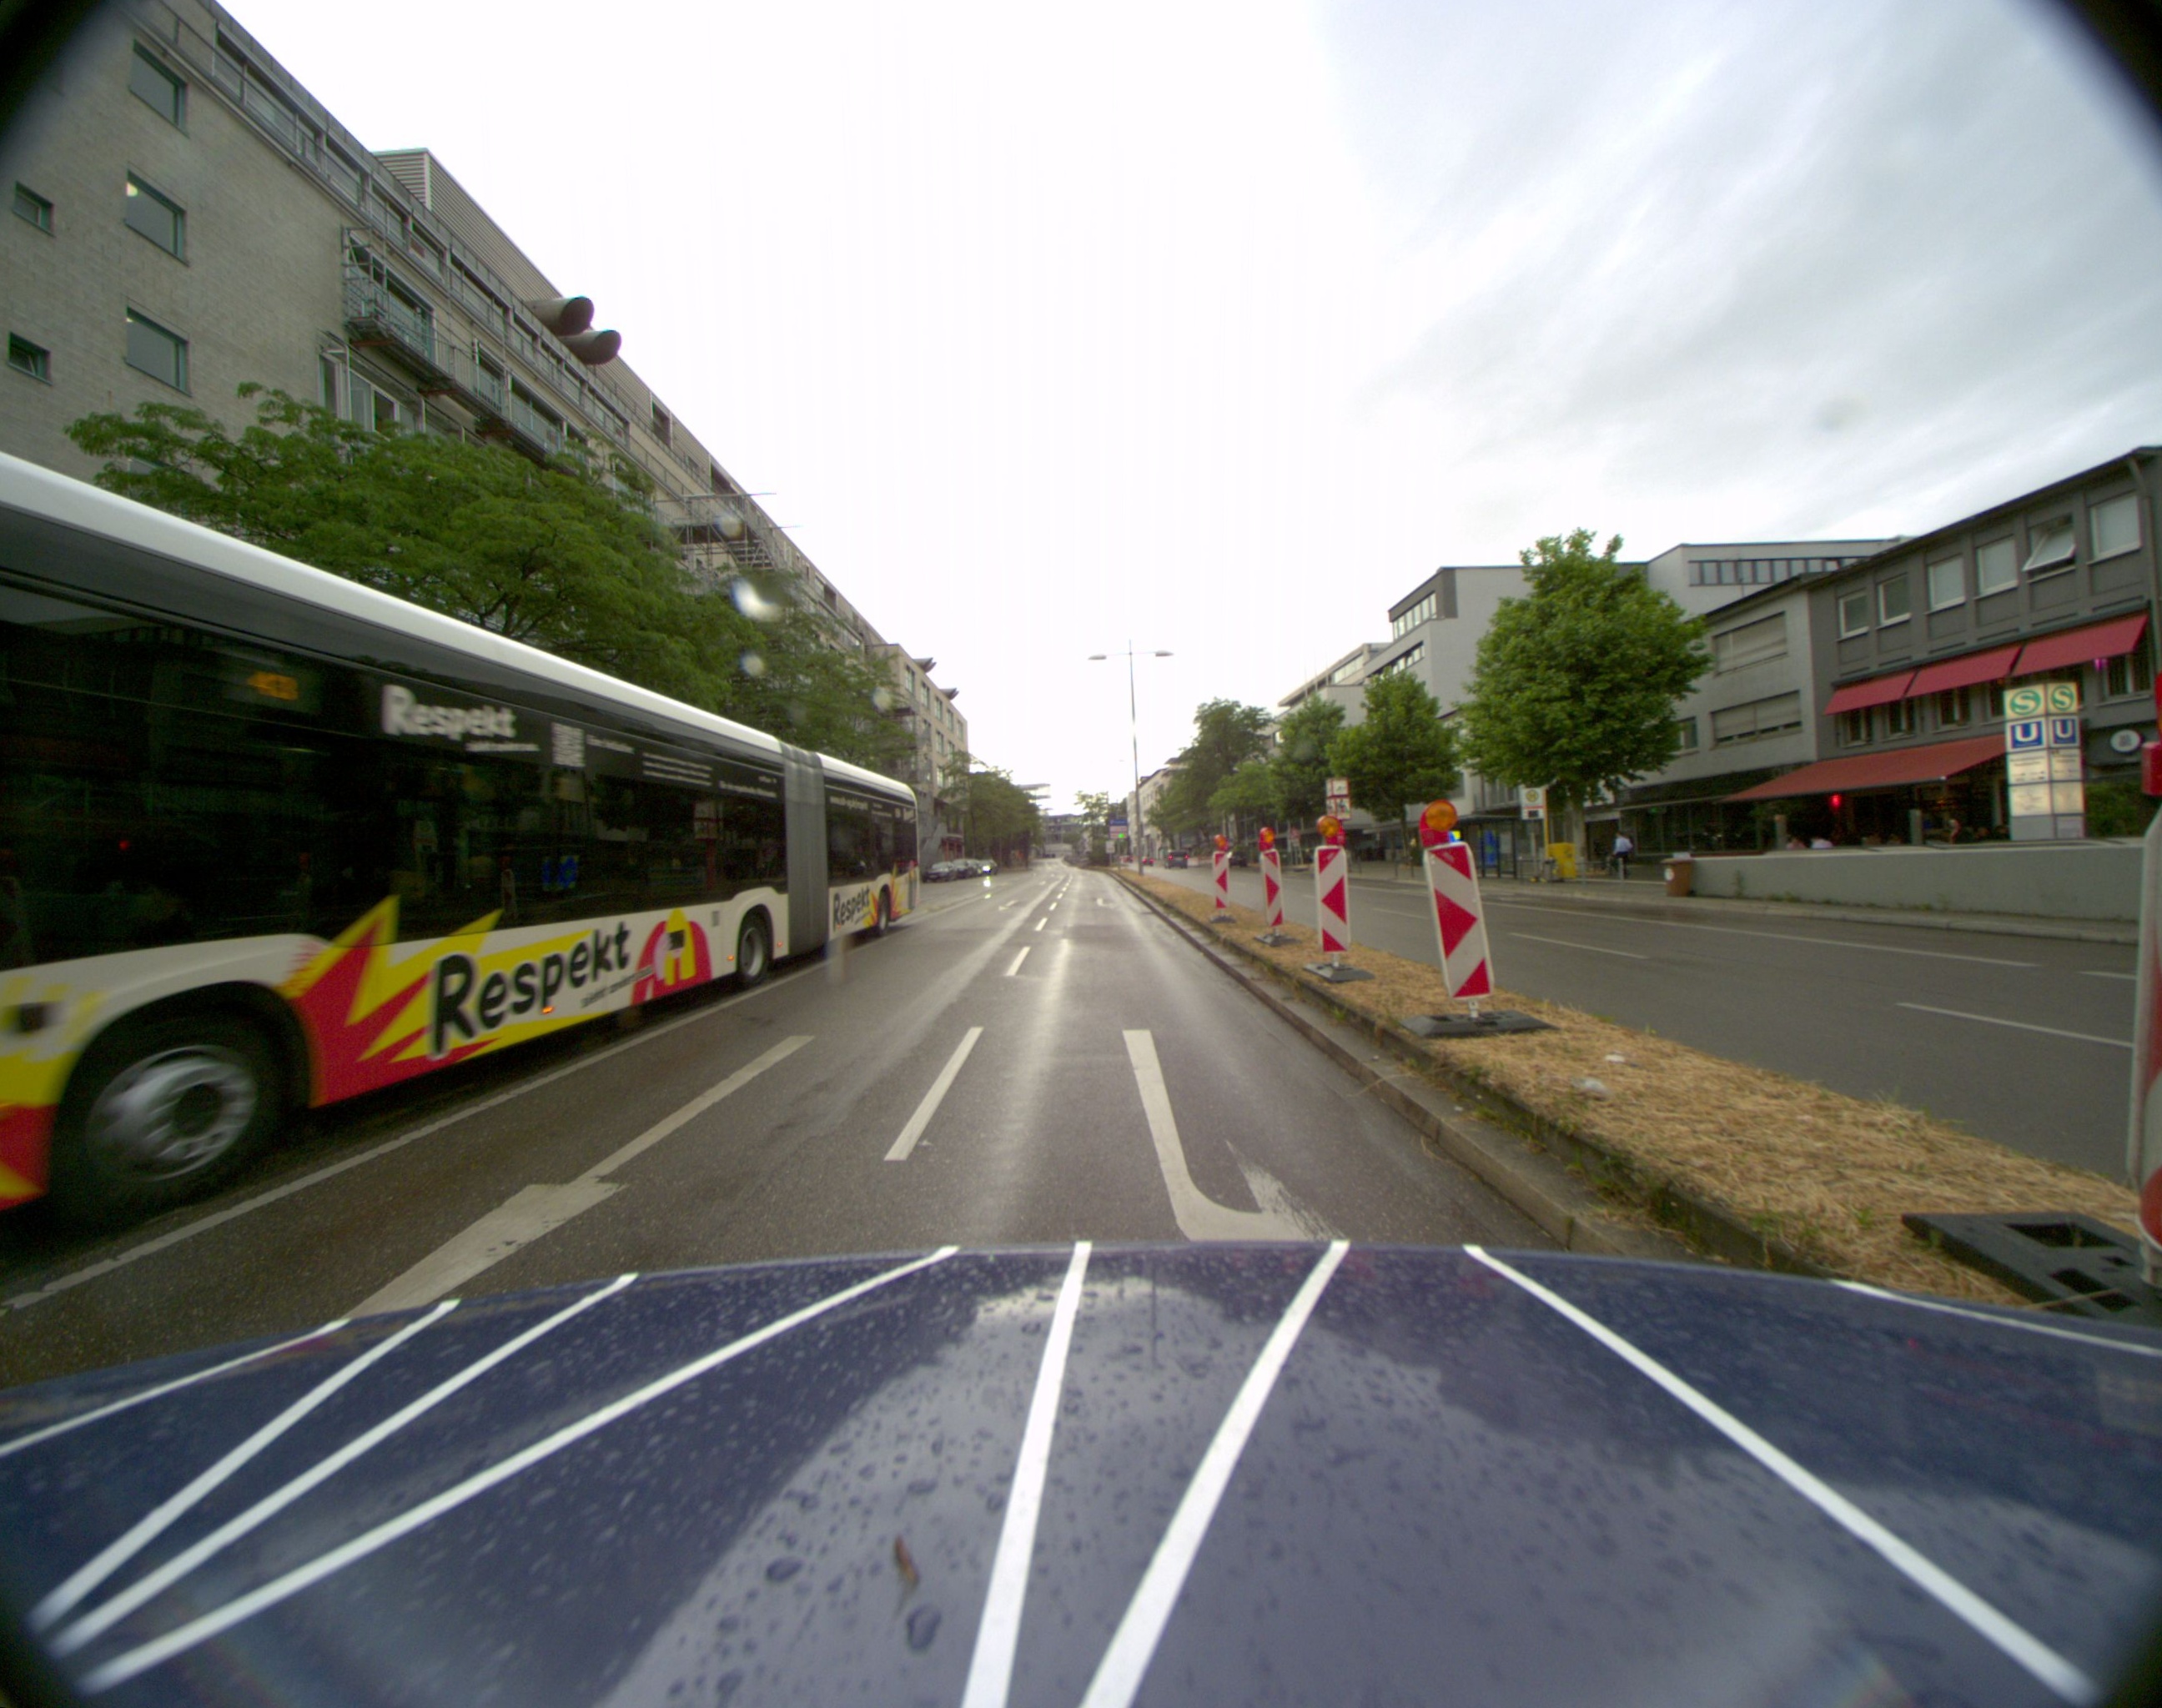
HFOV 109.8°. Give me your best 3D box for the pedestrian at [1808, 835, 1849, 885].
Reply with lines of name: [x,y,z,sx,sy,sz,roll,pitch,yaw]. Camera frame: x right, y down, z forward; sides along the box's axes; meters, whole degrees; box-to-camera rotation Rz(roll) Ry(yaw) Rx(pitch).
pedestrian: [23.309,0.174,23.696,0.669,1.520,0.611,-2,1,3]

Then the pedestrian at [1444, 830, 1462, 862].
pedestrian: [24.076,-0.519,49.154,0.774,2.002,0.767,-2,1,8]

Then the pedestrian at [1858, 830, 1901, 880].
pedestrian: [24.994,0.034,23.789,0.669,1.520,0.611,-2,1,3]

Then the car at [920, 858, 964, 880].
car: [-9.892,1.029,54.417,2.147,1.329,4.816,-2,1,0]

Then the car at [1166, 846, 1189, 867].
car: [9.812,0.238,77.380,1.998,1.916,4.965,-1,2,4]

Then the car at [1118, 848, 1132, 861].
car: [7.055,0.075,122.276,1.998,2.002,4.000,-2,1,2]

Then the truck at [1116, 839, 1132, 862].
truck: [7.103,-0.564,127.111,1.999,3.557,7.572,-2,0,-2]

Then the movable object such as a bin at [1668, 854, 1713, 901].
movable object such as a bin: [14.564,0.552,18.165,0.507,1.094,0.660,-2,1,-2]

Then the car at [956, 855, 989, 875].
car: [-9.463,0.937,66.685,2.147,1.552,4.816,-2,1,0]

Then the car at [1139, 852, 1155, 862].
car: [10.389,0.499,120.368,1.692,1.501,4.289,-2,0,-6]

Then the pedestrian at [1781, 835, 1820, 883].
pedestrian: [23.345,0.150,24.671,0.669,1.520,0.611,-2,1,3]

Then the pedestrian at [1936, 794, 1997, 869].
pedestrian: [22.264,-0.555,19.115,0.611,1.813,0.792,-2,1,-4]

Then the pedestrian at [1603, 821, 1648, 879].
pedestrian: [19.686,-0.144,27.487,0.922,2.002,0.944,-2,1,0]

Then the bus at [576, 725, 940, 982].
bus: [-5.324,-0.058,15.275,2.890,3.420,9.709,-2,1,1]

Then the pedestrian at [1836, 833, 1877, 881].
pedestrian: [24.922,0.091,24.413,0.669,1.520,0.611,-2,1,4]

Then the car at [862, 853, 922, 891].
car: [-10.524,0.978,42.653,2.213,1.895,4.329,-2,1,0]

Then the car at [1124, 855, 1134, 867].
car: [9.965,1.456,158.514,1.692,1.419,4.225,-1,-15,0]

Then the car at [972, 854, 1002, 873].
car: [-8.893,0.895,72.421,2.147,1.637,4.816,-2,1,0]

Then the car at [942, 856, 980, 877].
car: [-9.623,0.977,61.216,2.147,1.486,4.816,-2,1,0]

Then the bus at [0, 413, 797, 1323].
bus: [-5.481,0.050,5.523,2.890,3.430,9.756,-2,1,1]
